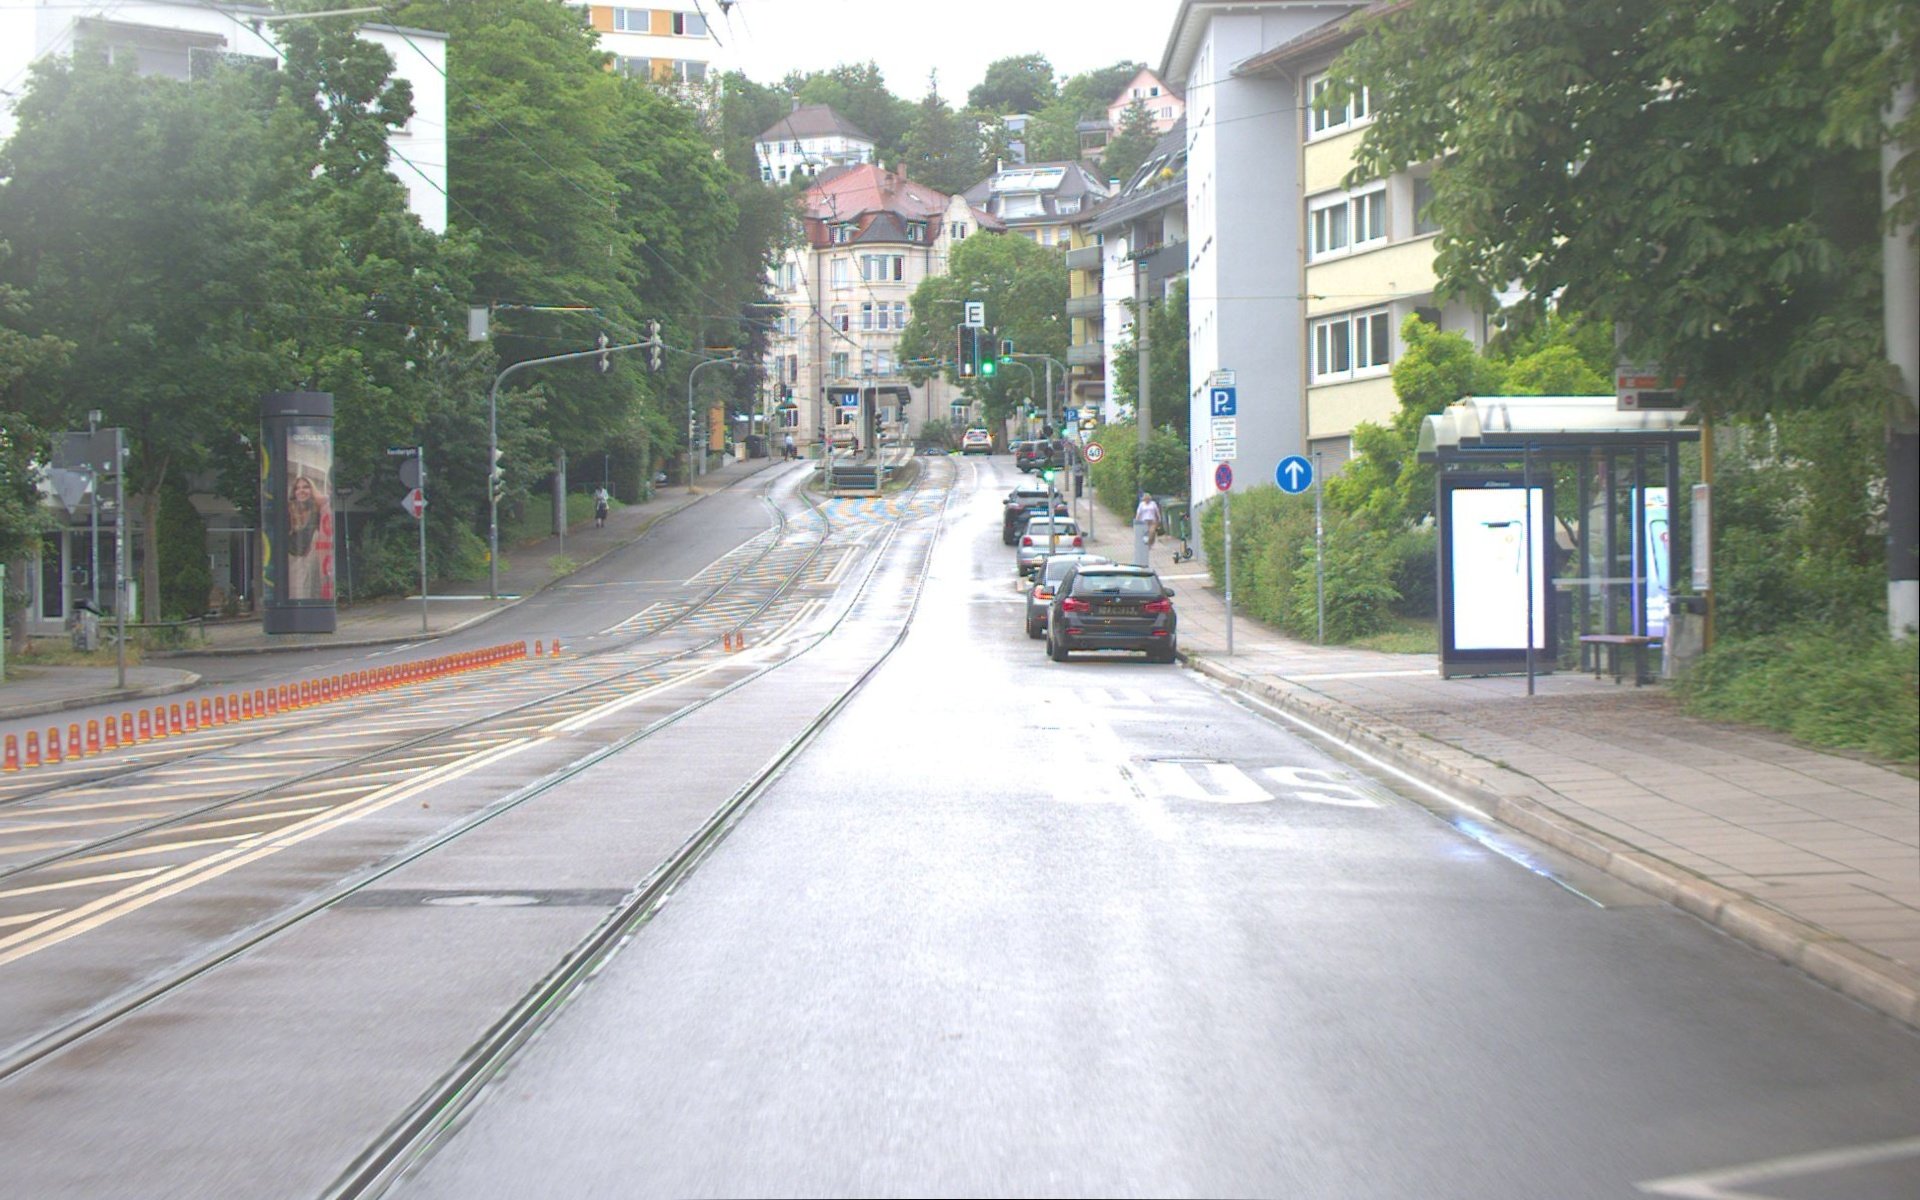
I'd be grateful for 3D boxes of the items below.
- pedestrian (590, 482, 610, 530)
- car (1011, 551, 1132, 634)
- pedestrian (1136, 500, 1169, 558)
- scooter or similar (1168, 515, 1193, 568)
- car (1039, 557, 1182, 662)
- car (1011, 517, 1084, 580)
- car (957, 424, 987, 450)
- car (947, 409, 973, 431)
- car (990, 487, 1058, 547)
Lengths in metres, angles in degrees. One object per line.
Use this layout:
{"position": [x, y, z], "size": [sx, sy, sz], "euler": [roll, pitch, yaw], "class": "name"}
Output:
{"position": [-12.230, -3.197, 116.715], "size": [0.583, 1.594, 0.869], "euler": [2, 2, -3], "class": "pedestrian"}
{"position": [2.009, -0.161, 62.920], "size": [1.939, 1.459, 4.207], "euler": [0, 1, -2], "class": "car"}
{"position": [5.442, -2.006, 97.103], "size": [0.882, 1.577, 0.801], "euler": [-2, 5, 3], "class": "pedestrian"}
{"position": [5.672, -1.510, 88.399], "size": [0.575, 1.245, 1.610], "euler": [0, 5, 6], "class": "scooter or similar"}
{"position": [2.207, 0.103, 51.439], "size": [1.858, 1.482, 4.645], "euler": [0, 1, -1], "class": "car"}
{"position": [2.218, -1.324, 87.792], "size": [1.704, 1.428, 4.102], "euler": [1, 3, -1], "class": "car"}
{"position": [0.759, -10.532, 222.346], "size": [1.906, 1.636, 4.690], "euler": [1, 3, -1], "class": "car"}
{"position": [0.011, -13.553, 258.534], "size": [1.906, 1.636, 4.690], "euler": [1, 3, -1], "class": "car"}
{"position": [1.912, -2.526, 104.011], "size": [1.906, 1.636, 4.690], "euler": [1, 3, -1], "class": "car"}
